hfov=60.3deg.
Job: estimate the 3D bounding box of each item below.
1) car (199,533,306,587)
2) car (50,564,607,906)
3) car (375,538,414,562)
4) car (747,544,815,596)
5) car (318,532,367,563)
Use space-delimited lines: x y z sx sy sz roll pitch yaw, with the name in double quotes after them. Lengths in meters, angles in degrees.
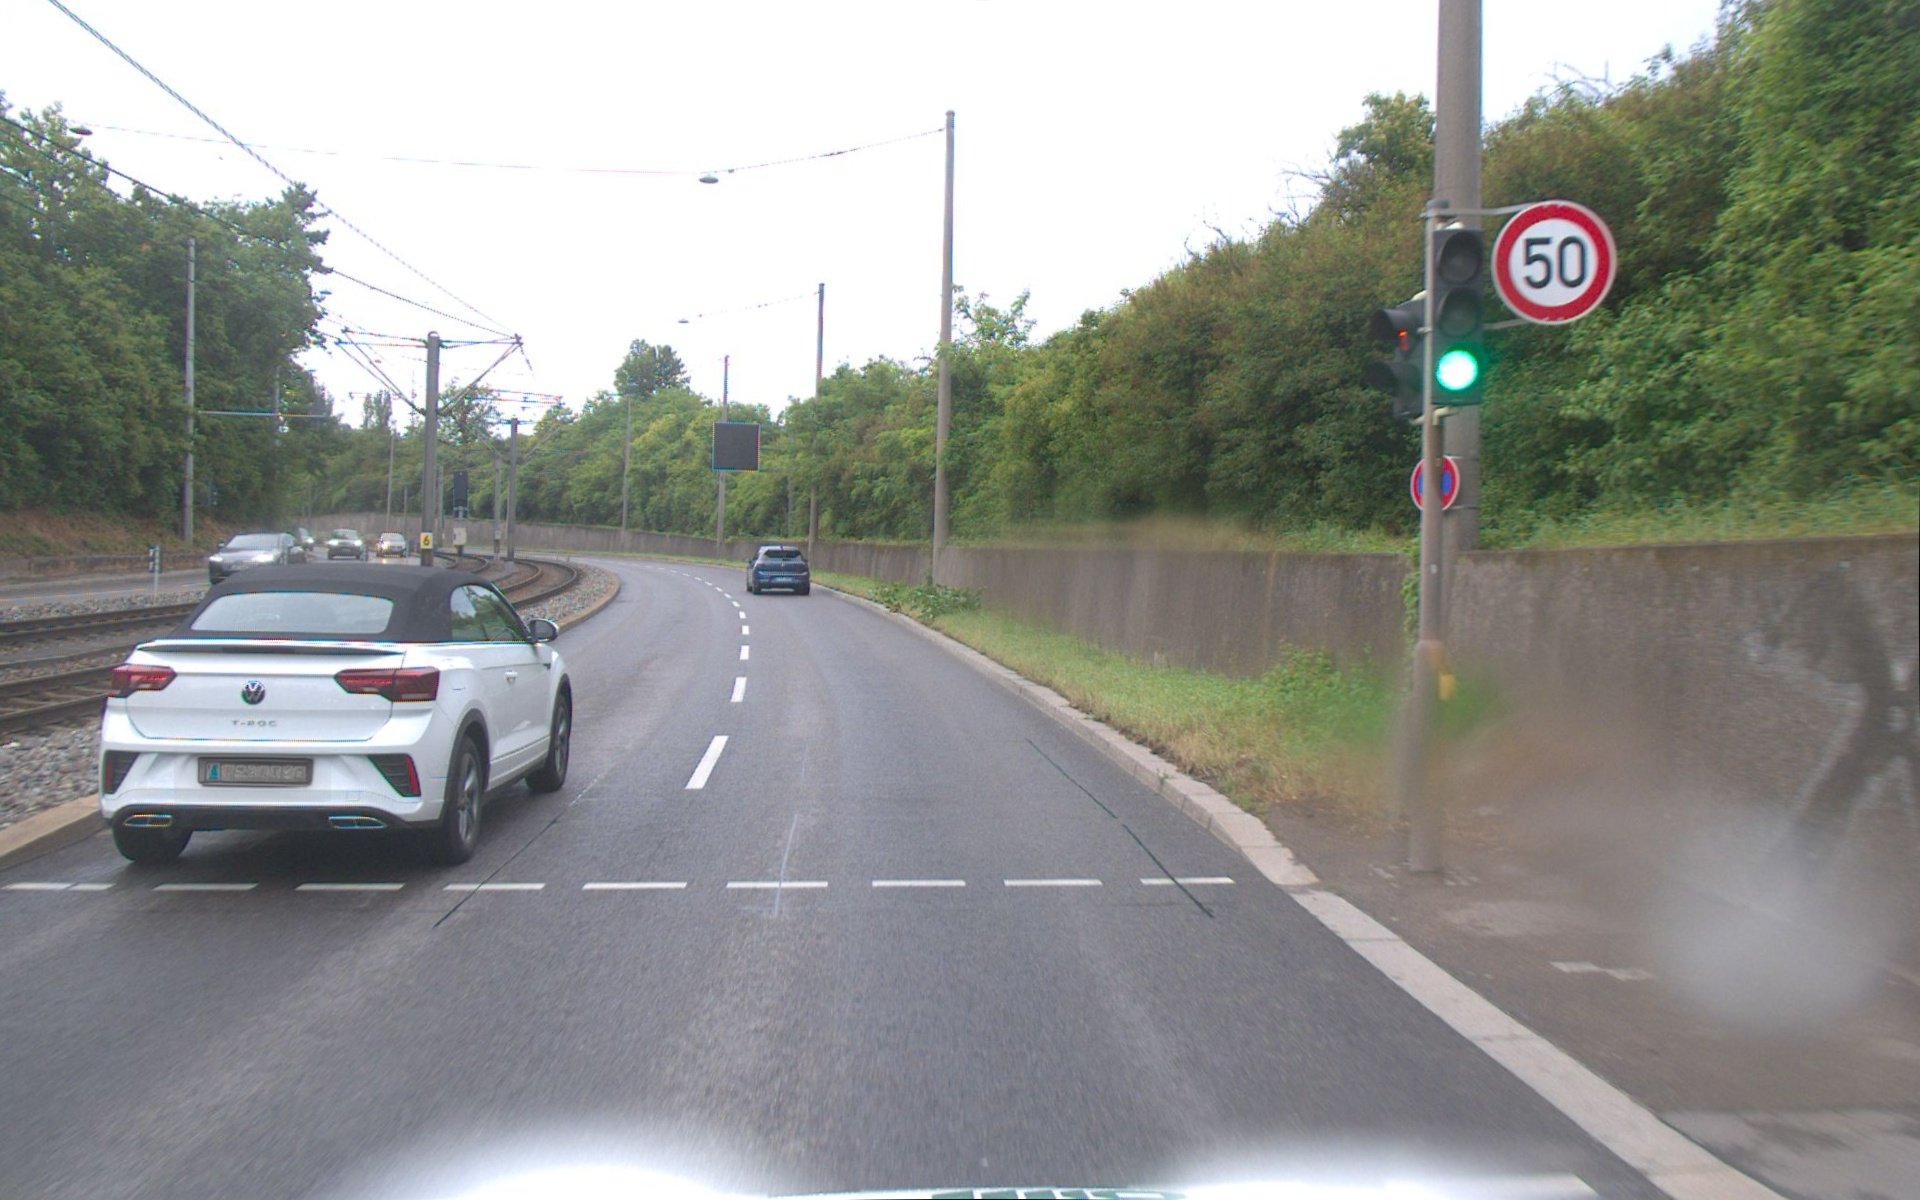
-20.847 -1.221 48.946 1.828 1.463 4.844 -1 2 -10 "car"
-3.403 0.573 9.943 1.834 1.550 4.537 0 2 -4 "car"
-35.435 -3.149 103.596 1.686 1.439 3.996 0 2 -28 "car"
-5.586 -0.965 51.386 1.732 1.527 3.990 1 2 -11 "car"
-35.668 -3.032 95.423 1.767 1.698 4.688 0 2 -32 "car"
